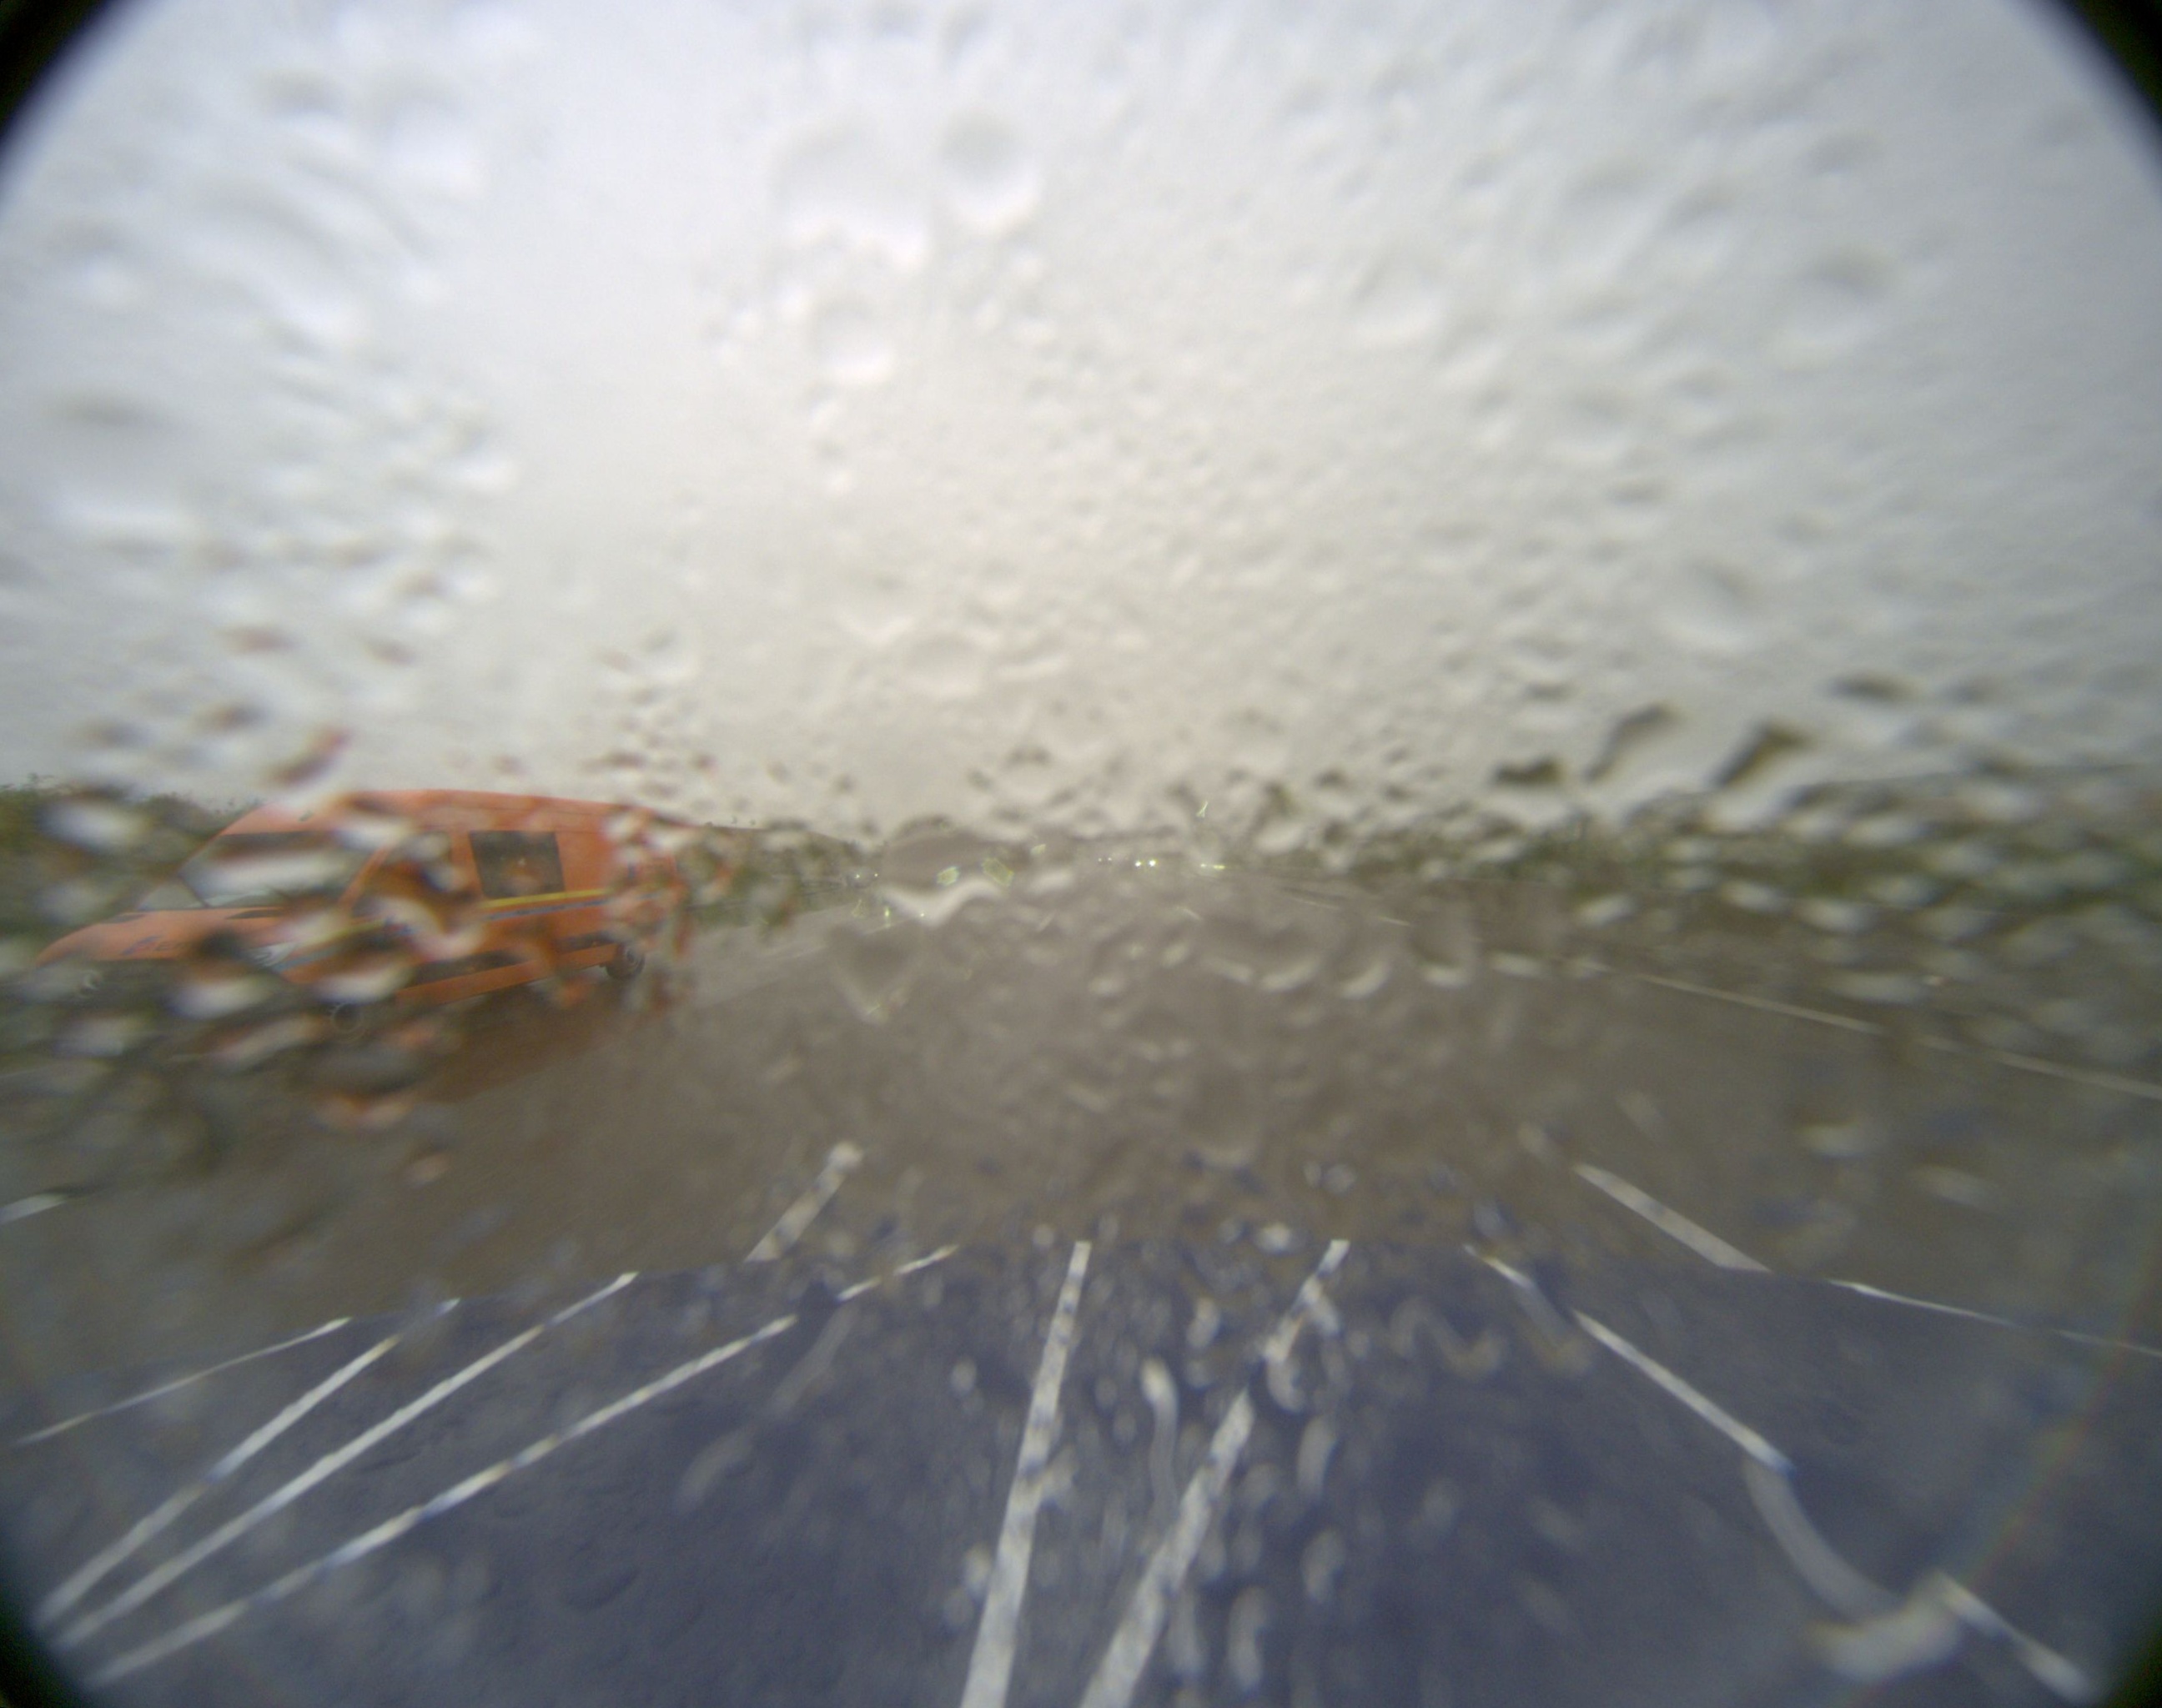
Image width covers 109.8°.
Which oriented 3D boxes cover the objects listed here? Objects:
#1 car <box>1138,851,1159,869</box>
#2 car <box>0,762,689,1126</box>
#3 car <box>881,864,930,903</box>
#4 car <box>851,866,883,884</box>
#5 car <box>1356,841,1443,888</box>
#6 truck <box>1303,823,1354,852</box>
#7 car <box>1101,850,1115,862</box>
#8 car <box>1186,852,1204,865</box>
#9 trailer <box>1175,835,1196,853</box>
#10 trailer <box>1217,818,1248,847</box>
[{"bbox_3d":[6.302,0.540,71.042,1.701,1.543,3.733,-2,1,2],"label":"car"},{"bbox_3d":[-7.535,0.660,9.037,2.066,2.600,6.885,-3,0,0],"label":"car"},{"bbox_3d":[-8.021,1.299,35.076,1.915,1.477,4.473,-4,1,-11],"label":"car"},{"bbox_3d":[-17.761,1.699,63.217,1.820,1.281,3.997,-2,1,-6],"label":"car"},{"bbox_3d":[13.536,0.412,32.536,1.998,1.805,3.999,-2,1,0],"label":"car"},{"bbox_3d":[26.533,-1.719,81.804,2.826,2.892,8.280,-2,1,1],"label":"truck"},{"bbox_3d":[3.639,0.283,103.801,1.701,1.543,3.732,-2,1,0],"label":"car"},{"bbox_3d":[12.649,0.499,84.511,1.562,1.346,3.293,-3,0,2],"label":"car"},{"bbox_3d":[20.734,-1.966,151.394,3.265,3.436,9.443,-1,0,2],"label":"trailer"},{"bbox_3d":[22.570,-3.116,113.672,2.441,3.916,13.493,-3,1,3],"label":"trailer"}]
